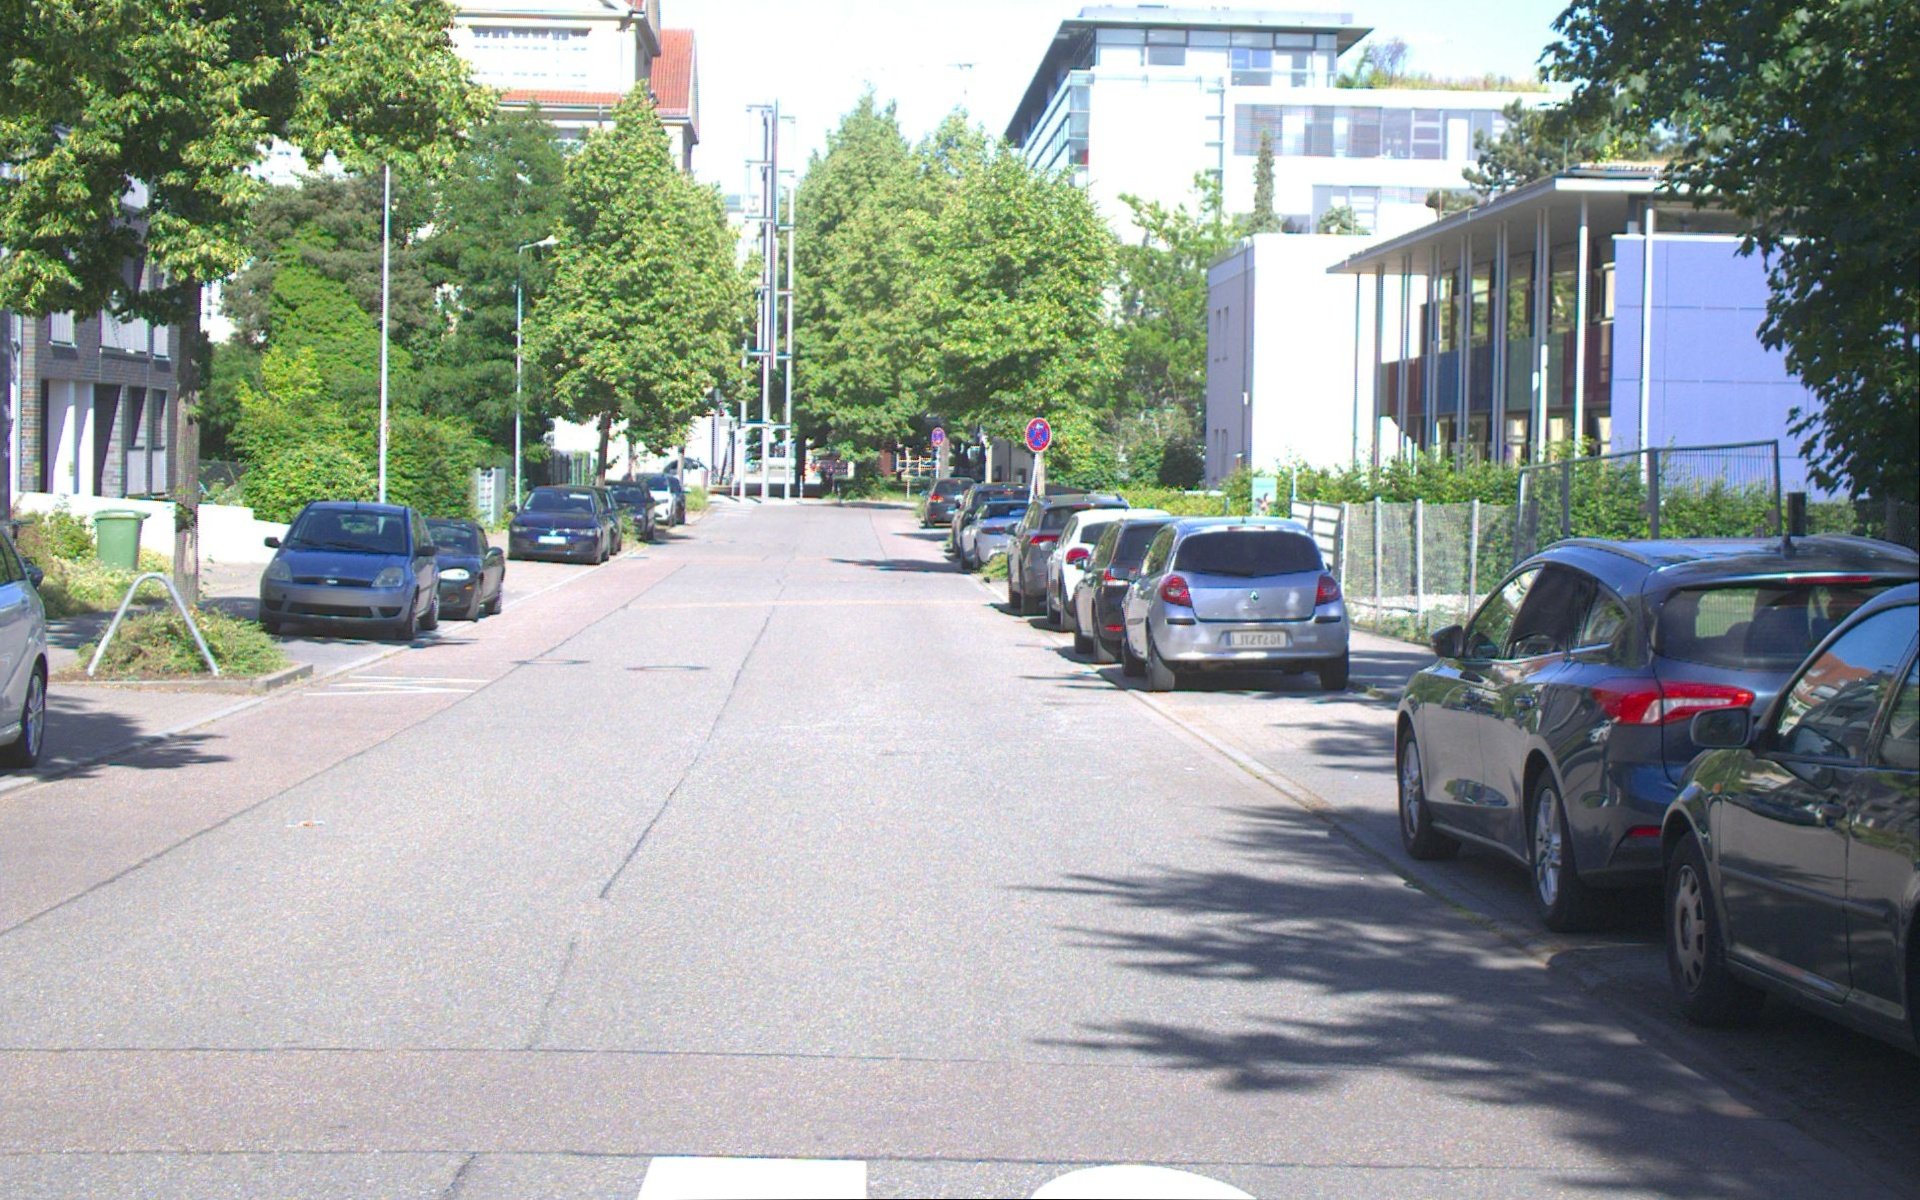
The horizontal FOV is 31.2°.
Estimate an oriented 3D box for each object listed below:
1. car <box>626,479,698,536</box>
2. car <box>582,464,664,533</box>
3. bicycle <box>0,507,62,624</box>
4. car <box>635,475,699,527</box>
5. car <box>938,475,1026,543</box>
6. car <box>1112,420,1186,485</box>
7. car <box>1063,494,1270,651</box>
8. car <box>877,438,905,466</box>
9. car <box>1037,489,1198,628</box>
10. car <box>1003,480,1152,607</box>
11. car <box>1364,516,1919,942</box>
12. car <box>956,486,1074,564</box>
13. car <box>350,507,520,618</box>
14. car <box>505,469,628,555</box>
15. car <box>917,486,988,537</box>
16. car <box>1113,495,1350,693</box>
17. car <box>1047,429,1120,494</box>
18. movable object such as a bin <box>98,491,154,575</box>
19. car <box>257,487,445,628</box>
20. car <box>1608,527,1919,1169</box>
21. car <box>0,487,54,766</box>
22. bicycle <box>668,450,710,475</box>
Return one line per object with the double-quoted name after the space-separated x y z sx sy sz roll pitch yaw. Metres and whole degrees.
-8.372 -2.614 96.872 1.777 1.524 4.001 1 2 -2 "car"
-8.151 -2.472 83.370 1.694 1.599 3.943 1 2 -2 "car"
-9.479 -0.355 34.420 0.283 1.120 1.984 1 2 5 "bicycle"
-8.670 -2.953 101.917 1.700 1.465 3.462 1 2 -2 "car"
0.489 -2.145 80.137 1.834 1.510 3.881 1 2 -2 "car"
6.004 -4.711 109.874 1.993 2.006 4.001 1 2 -2 "car"
2.071 -0.322 35.471 1.687 1.489 4.079 1 1 -2 "car"
-5.103 -10.931 253.468 1.993 2.006 4.001 1 3 -1 "car"
1.929 -0.554 43.083 1.679 1.536 3.850 1 3 -2 "car"
1.606 -0.833 48.383 1.725 1.646 4.327 -1 2 -3 "car"
2.894 0.401 14.147 1.676 1.432 4.440 1 2 -3 "car"
1.037 -1.481 66.817 1.829 1.417 4.235 -2 2 -5 "car"
-6.678 -0.512 44.019 1.599 1.212 3.876 3 2 -1 "car"
-7.661 -1.736 67.261 1.762 1.522 4.000 4 2 2 "car"
-0.240 -2.666 103.535 1.993 1.481 4.001 1 2 -2 "car"
2.345 -0.113 30.587 1.662 1.507 4.001 1 3 -1 "car"
3.930 -4.426 109.823 2.024 2.006 4.001 1 2 -2 "car"
-11.148 -0.893 45.951 0.607 1.086 0.637 1 3 -3 "movable object such as a bin"
-6.790 -0.518 38.611 1.610 1.460 3.875 1 2 -3 "car"
3.110 0.567 9.244 1.824 1.466 4.069 1 1 -2 "car"
-6.101 0.167 18.567 1.659 1.527 4.288 1 2 -5 "car"
-9.553 -4.848 121.079 1.467 0.839 0.336 1 3 -6 "bicycle"
